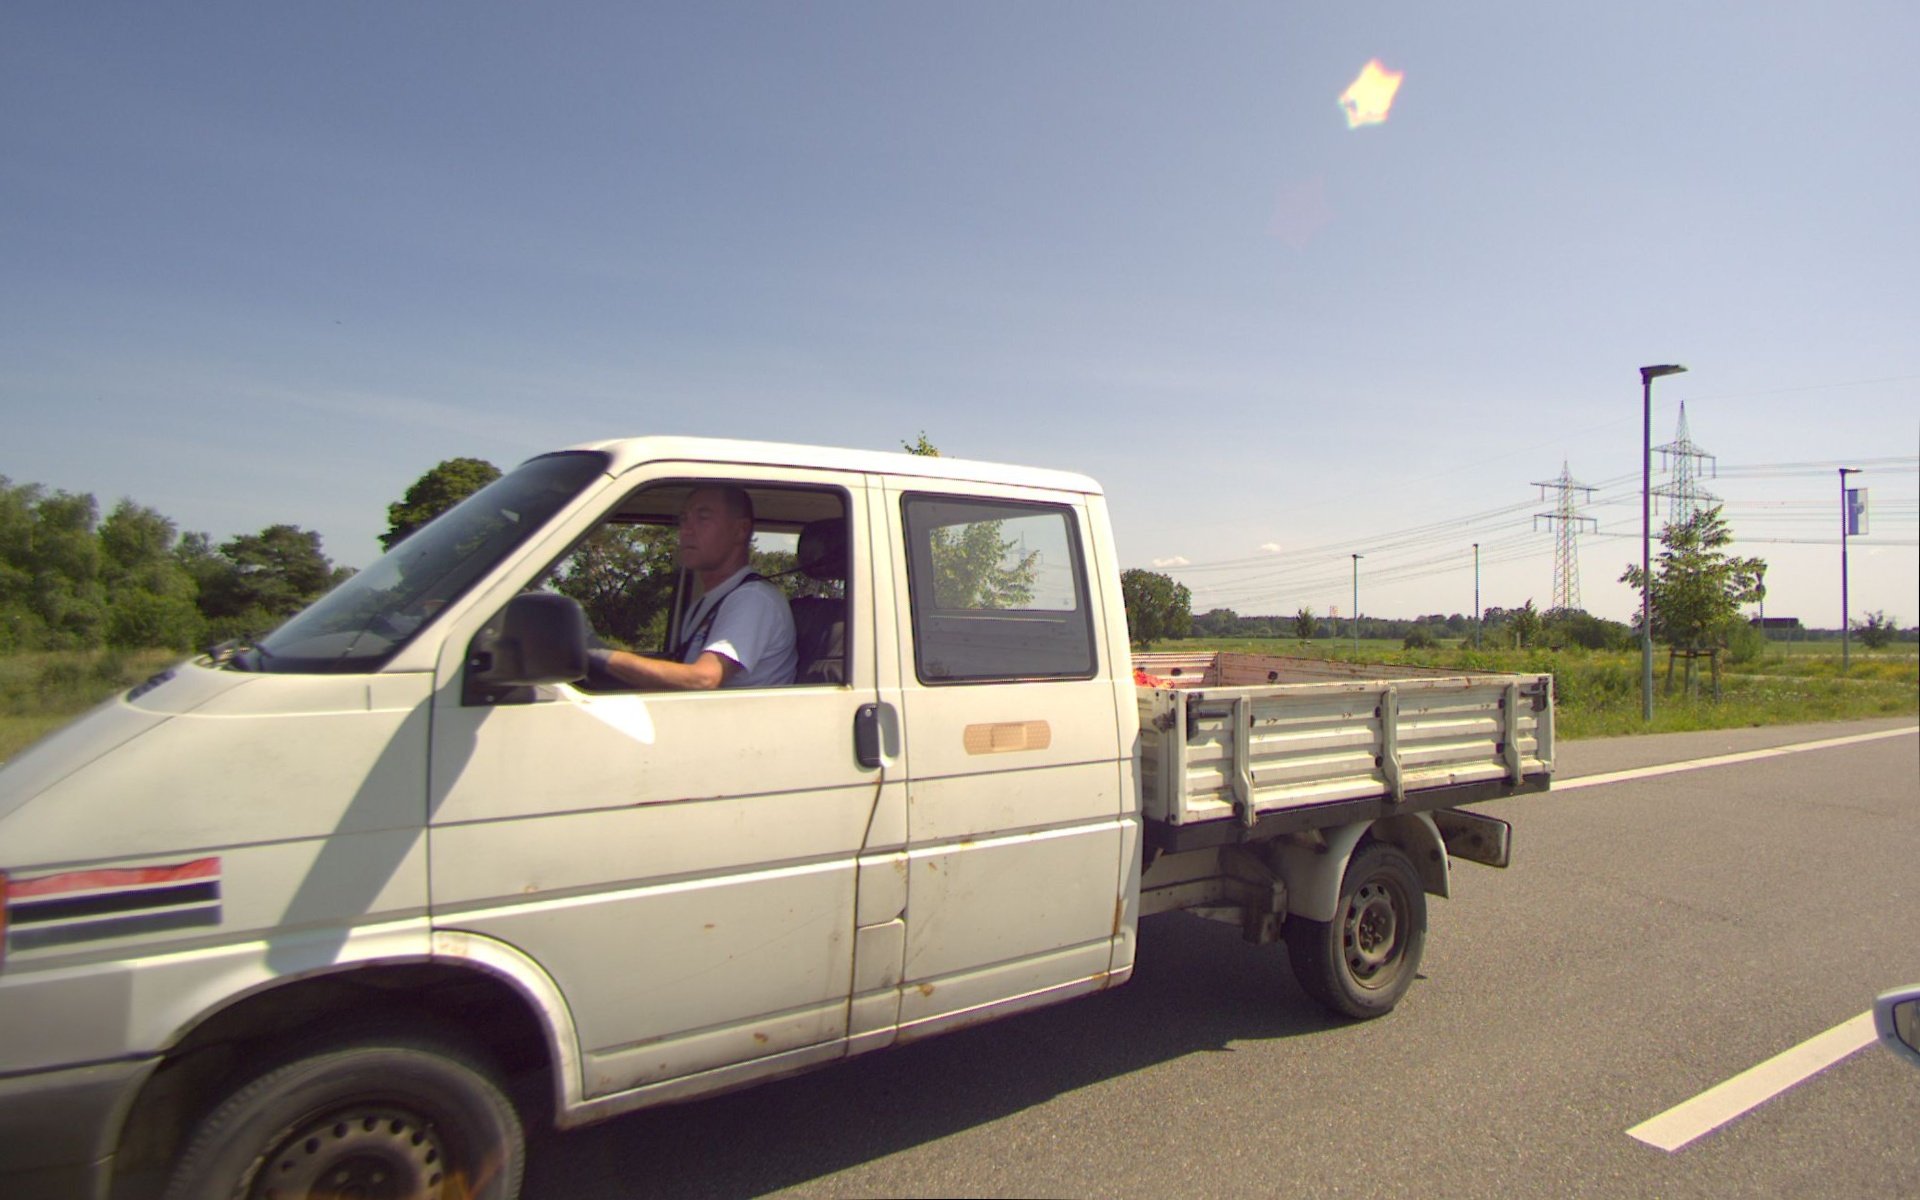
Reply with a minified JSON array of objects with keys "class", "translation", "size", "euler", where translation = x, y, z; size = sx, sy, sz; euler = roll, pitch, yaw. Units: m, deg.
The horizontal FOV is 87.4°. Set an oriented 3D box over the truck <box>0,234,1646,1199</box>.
[{"class":"truck","translation":[0.168,0.463,3.794],"size":[5.581,2.011,1.941],"euler":[1,0,-32]}]
